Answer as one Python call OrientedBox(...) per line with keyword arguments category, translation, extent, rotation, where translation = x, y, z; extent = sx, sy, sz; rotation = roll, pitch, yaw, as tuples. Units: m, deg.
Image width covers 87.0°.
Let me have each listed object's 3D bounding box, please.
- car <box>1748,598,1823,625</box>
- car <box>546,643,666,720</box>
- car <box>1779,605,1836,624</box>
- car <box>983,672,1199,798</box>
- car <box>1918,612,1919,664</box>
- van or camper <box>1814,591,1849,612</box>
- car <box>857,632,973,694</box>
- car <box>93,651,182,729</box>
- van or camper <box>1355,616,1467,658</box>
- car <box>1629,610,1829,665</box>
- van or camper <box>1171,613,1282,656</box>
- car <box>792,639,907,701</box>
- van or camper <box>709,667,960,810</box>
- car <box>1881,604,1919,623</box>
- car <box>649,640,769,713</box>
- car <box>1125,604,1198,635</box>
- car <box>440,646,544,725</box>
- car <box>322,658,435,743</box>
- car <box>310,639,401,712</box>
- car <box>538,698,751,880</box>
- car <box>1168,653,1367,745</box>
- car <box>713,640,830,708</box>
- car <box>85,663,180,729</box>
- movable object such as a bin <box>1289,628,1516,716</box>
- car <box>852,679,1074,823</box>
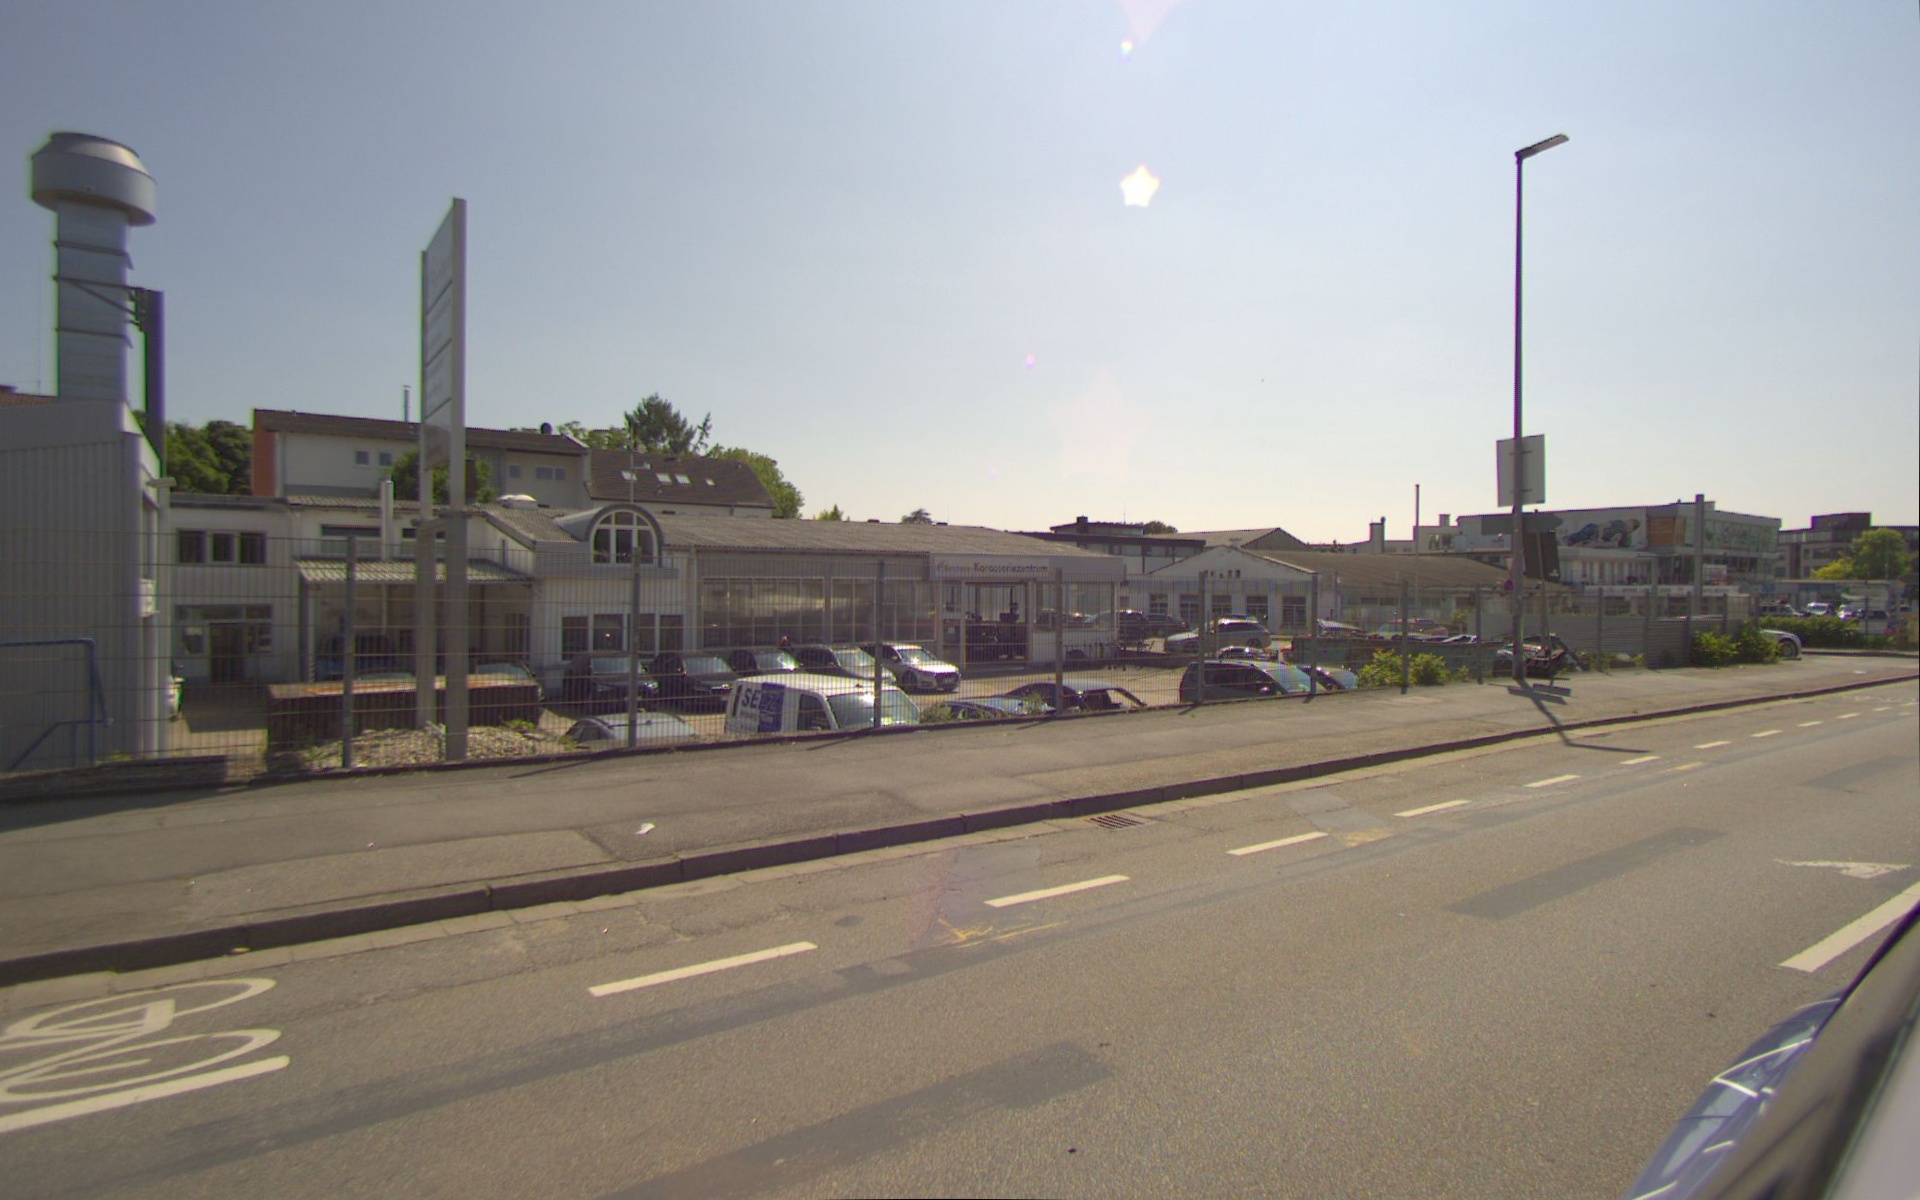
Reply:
OrientedBox(category="car", translation=(79.802, 1.092, 97.839), extent=(2.285, 2.449, 5.307), rotation=(1, 0, -41))
OrientedBox(category="car", translation=(-10.026, 2.202, 28.485), extent=(1.964, 1.682, 3.997), rotation=(1, 2, -39))
OrientedBox(category="car", translation=(84.513, 1.415, 100.982), extent=(1.964, 1.755, 4.114), rotation=(1, 0, -40))
OrientedBox(category="car", translation=(2.477, 2.528, 19.975), extent=(1.963, 2.040, 3.996), rotation=(1, -2, -37))
OrientedBox(category="car", translation=(15.045, 0.854, 14.075), extent=(3.607, 1.503, 1.728), rotation=(-2, 0, -34))
OrientedBox(category="van or camper", translation=(89.327, 0.140, 103.745), extent=(5.027, 2.039, 2.120), rotation=(1, 0, -42))
OrientedBox(category="car", translation=(-1.593, 2.087, 34.512), extent=(1.964, 1.682, 3.997), rotation=(-2, 3, -39))
OrientedBox(category="car", translation=(-25.026, 2.667, 30.857), extent=(1.964, 2.039, 3.995), rotation=(-2, -1, -39))
OrientedBox(category="van or camper", translation=(16.606, 1.360, 37.202), extent=(4.151, 1.369, 1.997), rotation=(1, -6, -38))
OrientedBox(category="car", translation=(22.246, 1.089, 29.373), extent=(4.406, 1.376, 1.959), rotation=(-2, -3, -6))
OrientedBox(category="van or camper", translation=(11.511, 1.479, 43.783), extent=(4.142, 1.561, 2.005), rotation=(-1, 5, -9))
OrientedBox(category="car", translation=(-3.611, 2.188, 32.504), extent=(1.814, 1.534, 3.997), rotation=(-2, 3, -39))
OrientedBox(category="van or camper", translation=(-2.143, 2.065, 16.312), extent=(1.985, 1.672, 4.320), rotation=(0, 0, -40))
OrientedBox(category="car", translation=(89.522, 1.311, 94.819), extent=(1.964, 1.699, 4.547), rotation=(1, 0, -40))
OrientedBox(category="car", translation=(-7.473, 2.187, 29.931), extent=(1.964, 1.682, 3.997), rotation=(-2, 3, -39))
OrientedBox(category="car", translation=(12.211, 1.154, 61.541), extent=(1.964, 1.817, 3.994), rotation=(1, -2, -40))
OrientedBox(category="car", translation=(-12.779, 2.246, 27.508), extent=(1.827, 1.683, 4.000), rotation=(0, 1, -36))
OrientedBox(category="car", translation=(-14.429, 2.396, 25.013), extent=(1.812, 1.534, 3.997), rotation=(-2, 3, -39))
OrientedBox(category="car", translation=(-18.041, 2.182, 30.131), extent=(1.881, 1.880, 3.996), rotation=(0, -1, -38))
OrientedBox(category="car", translation=(-4.840, 2.630, 15.149), extent=(1.817, 2.040, 3.996), rotation=(1, -2, -37))
OrientedBox(category="car", translation=(6.936, 2.169, 23.166), extent=(1.963, 1.672, 3.997), rotation=(0, 0, -37))
OrientedBox(category="car", translation=(-5.971, 2.250, 31.795), extent=(1.964, 1.682, 3.997), rotation=(-2, 3, -39))
OrientedBox(category="car", translation=(-22.011, 2.495, 27.001), extent=(1.837, 1.422, 3.831), rotation=(-2, -1, -39))
OrientedBox(category="movable object such as a bin", translation=(11.430, 1.819, 26.547), extent=(1.962, 2.040, 5.128), rotation=(0, -3, -36))
OrientedBox(category="car", translation=(-0.058, 2.549, 18.133), extent=(1.963, 2.040, 3.996), rotation=(1, -2, -37))
